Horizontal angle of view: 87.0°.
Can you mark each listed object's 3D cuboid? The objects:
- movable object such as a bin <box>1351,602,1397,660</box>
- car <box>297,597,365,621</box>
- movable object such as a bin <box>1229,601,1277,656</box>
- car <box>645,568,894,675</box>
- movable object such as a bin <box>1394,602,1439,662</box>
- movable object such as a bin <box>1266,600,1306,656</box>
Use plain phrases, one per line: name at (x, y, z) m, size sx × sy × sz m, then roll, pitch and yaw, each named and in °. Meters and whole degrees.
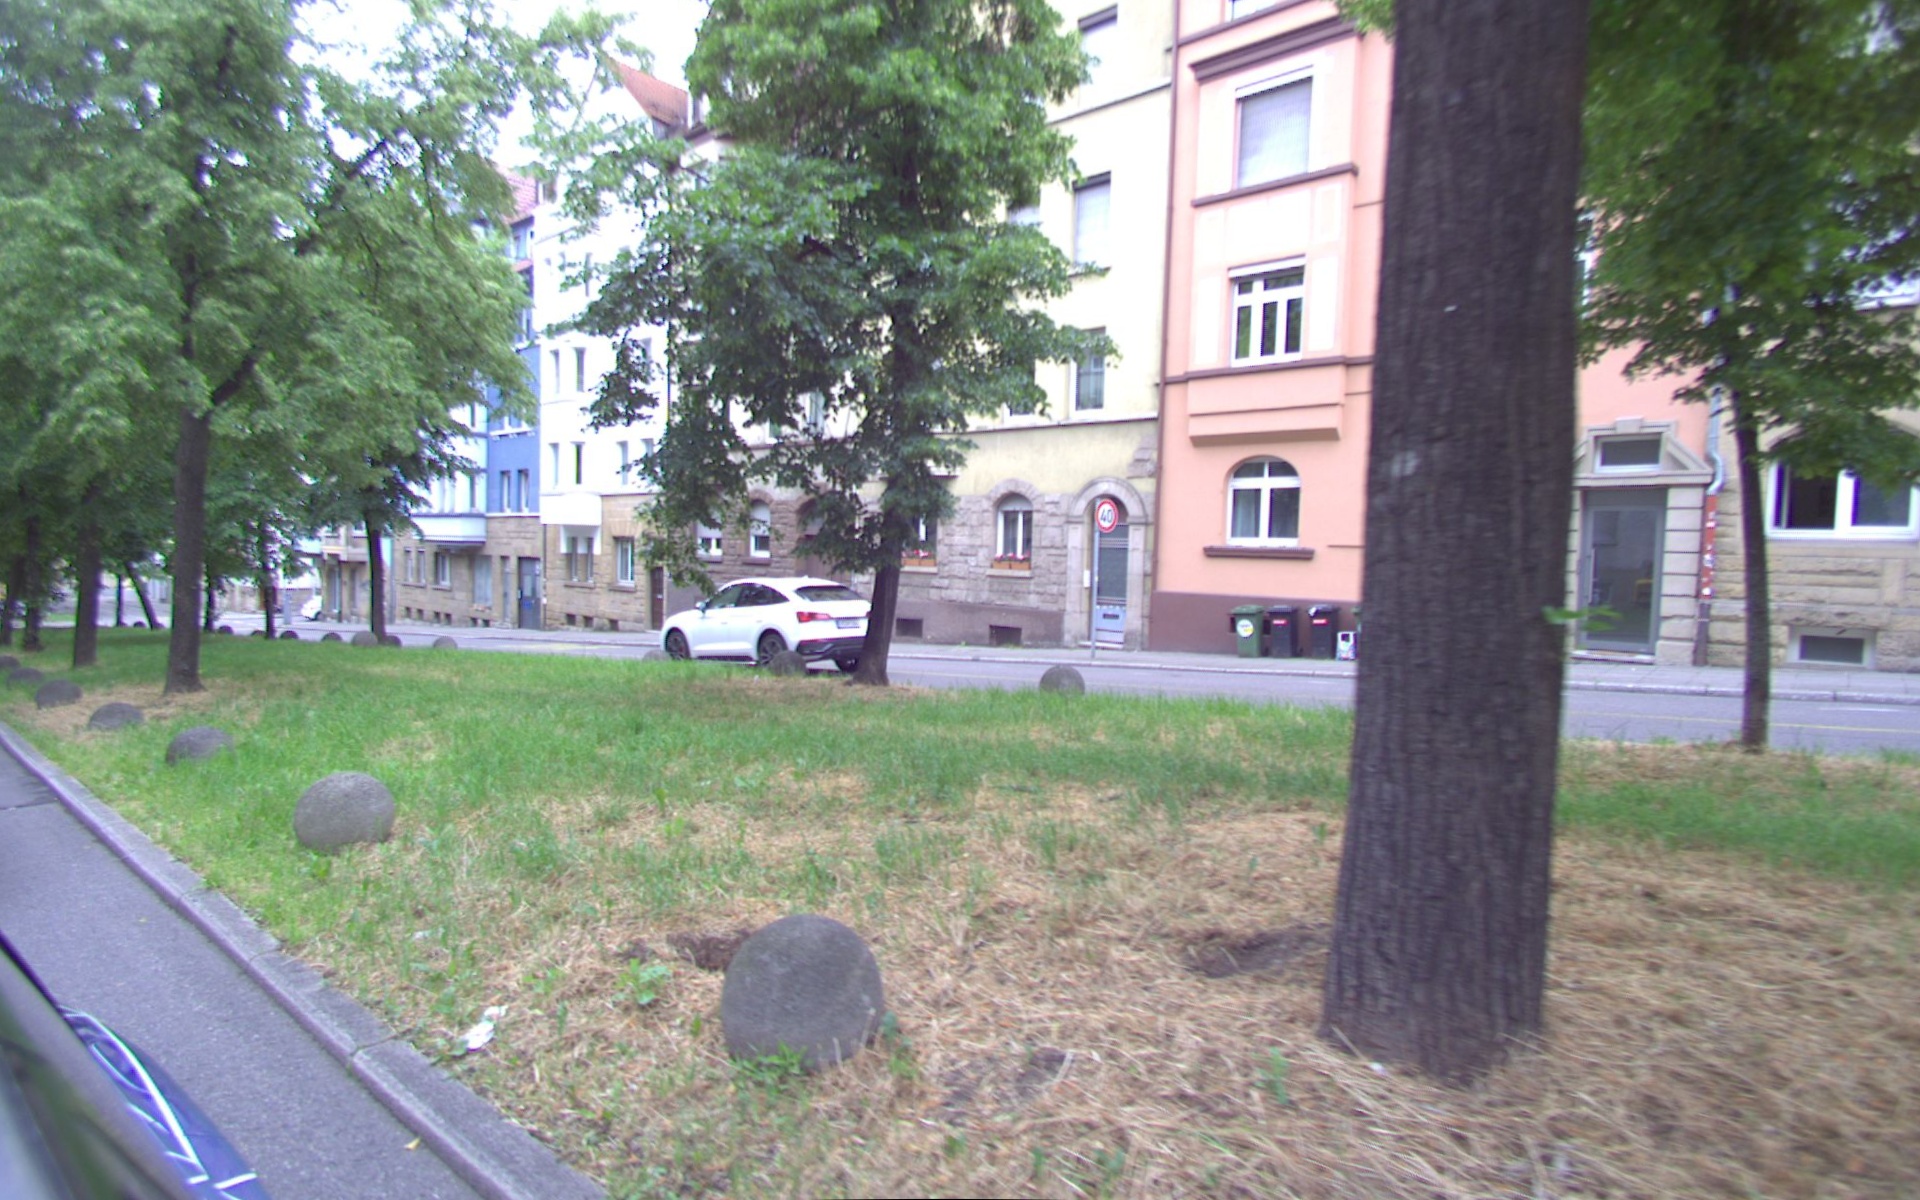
movable object such as a bin at (6.847, 0.503, 16.720) m, size 0.559 × 0.928 × 0.648 m, roll 0°, pitch 0°, yaw 37°
car at (-37.595, 0.535, 60.518) m, size 3.244 × 1.341 × 1.674 m, roll -1°, pitch 1°, yaw -40°
movable object such as a bin at (5.249, 0.499, 18.126) m, size 0.617 × 0.955 × 0.610 m, roll 0°, pitch 0°, yaw 40°
car at (-3.398, 0.366, 17.571) m, size 4.488 × 1.640 × 1.875 m, roll -2°, pitch -1°, yaw 41°
movable object such as a bin at (7.351, 0.503, 16.294) m, size 0.514 × 0.928 × 0.750 m, roll 0°, pitch 0°, yaw 36°
movable object such as a bin at (5.716, 0.488, 17.744) m, size 0.531 × 0.953 × 0.575 m, roll 0°, pitch 0°, yaw 35°
